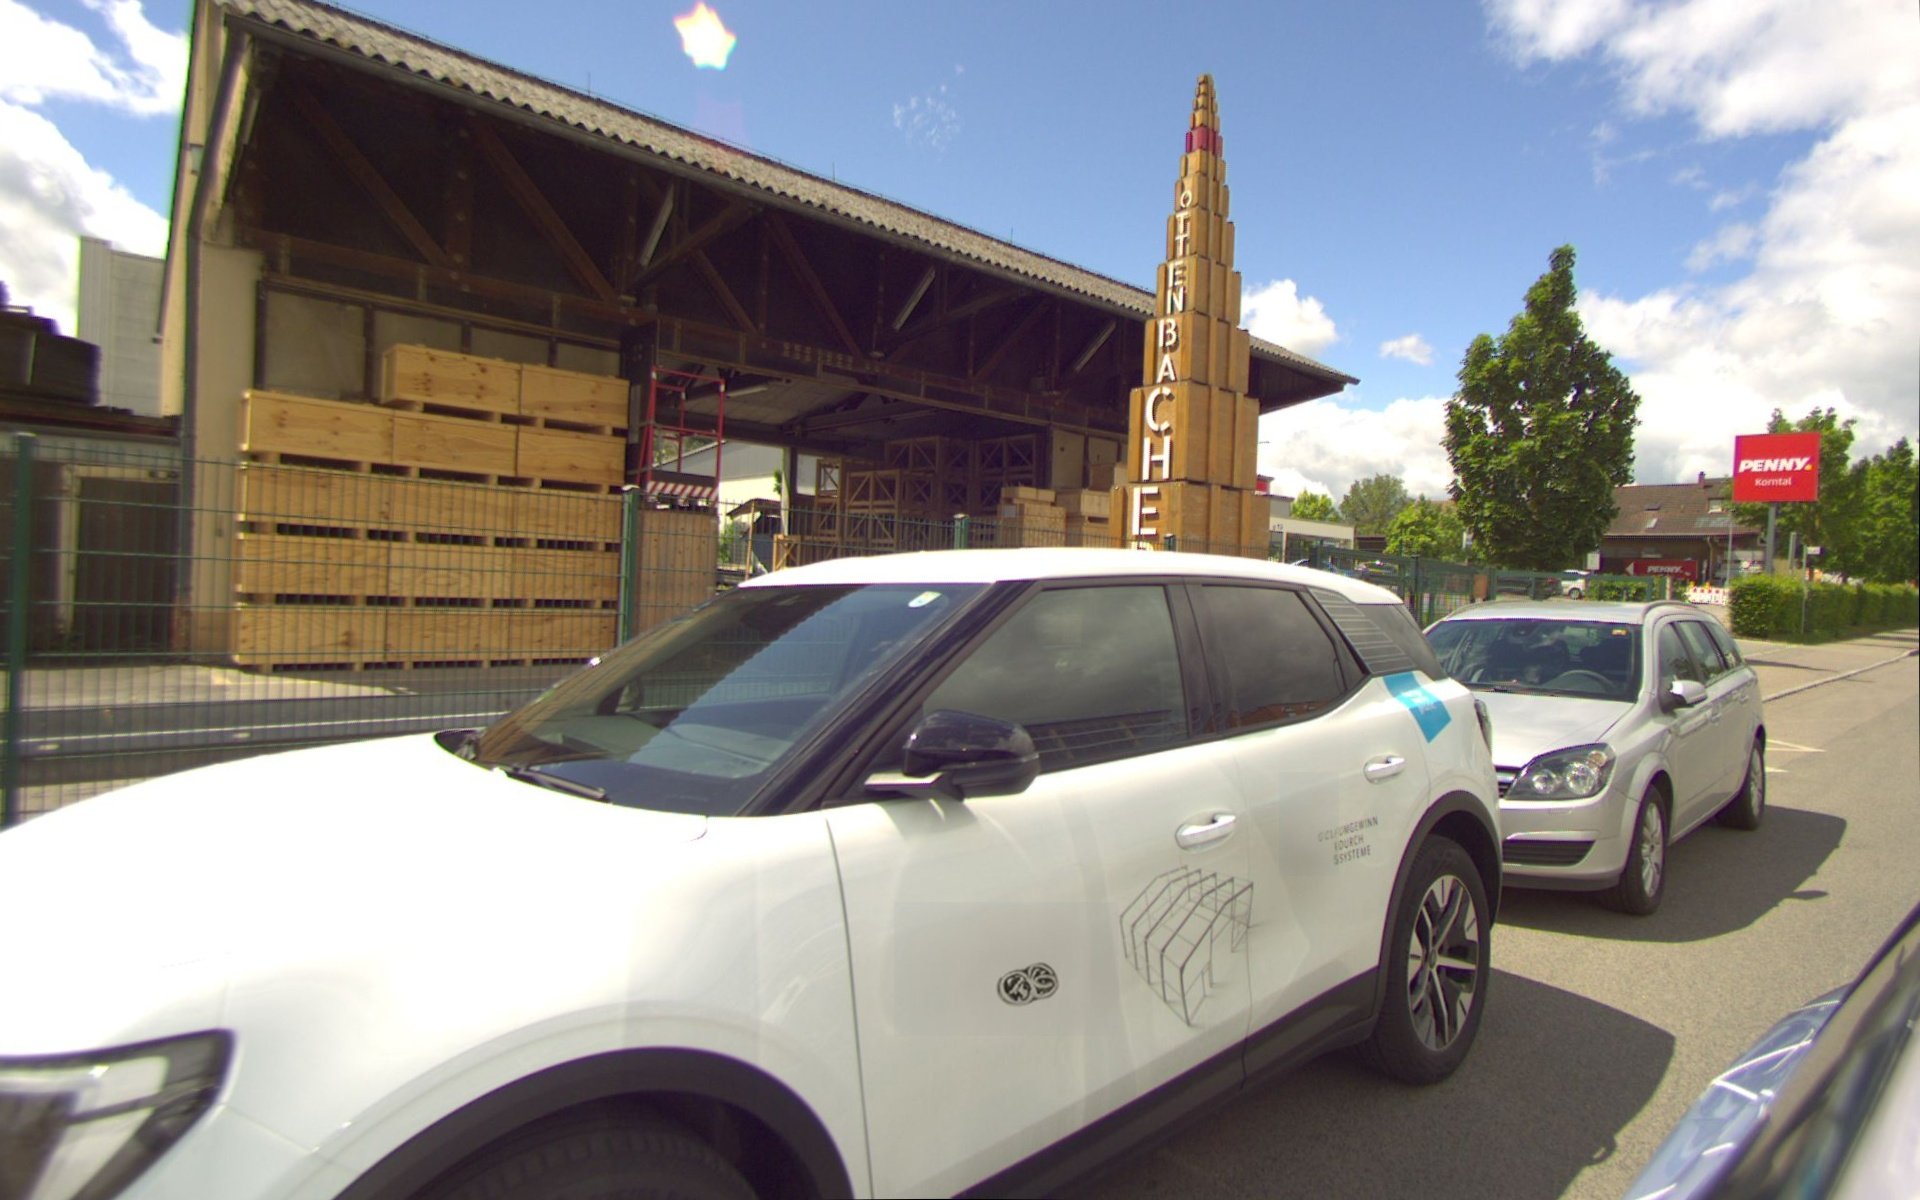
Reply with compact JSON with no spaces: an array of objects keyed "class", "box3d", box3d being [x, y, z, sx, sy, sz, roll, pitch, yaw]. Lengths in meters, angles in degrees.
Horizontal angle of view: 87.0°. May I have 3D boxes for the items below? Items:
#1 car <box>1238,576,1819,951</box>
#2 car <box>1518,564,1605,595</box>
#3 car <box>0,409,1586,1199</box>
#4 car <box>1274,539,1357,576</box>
[{"class":"car","box3d":[3.716,0.662,6.240,4.288,1.467,1.795,0,3,-42]},{"class":"car","box3d":[35.062,-1.153,59.052,1.966,1.727,3.991,1,0,-42]},{"class":"car","box3d":[-0.062,0.579,2.787,4.494,1.571,1.795,0,3,-42]},{"class":"car","box3d":[20.065,-2.344,57.074,4.259,1.928,1.982,0,-1,26]}]
